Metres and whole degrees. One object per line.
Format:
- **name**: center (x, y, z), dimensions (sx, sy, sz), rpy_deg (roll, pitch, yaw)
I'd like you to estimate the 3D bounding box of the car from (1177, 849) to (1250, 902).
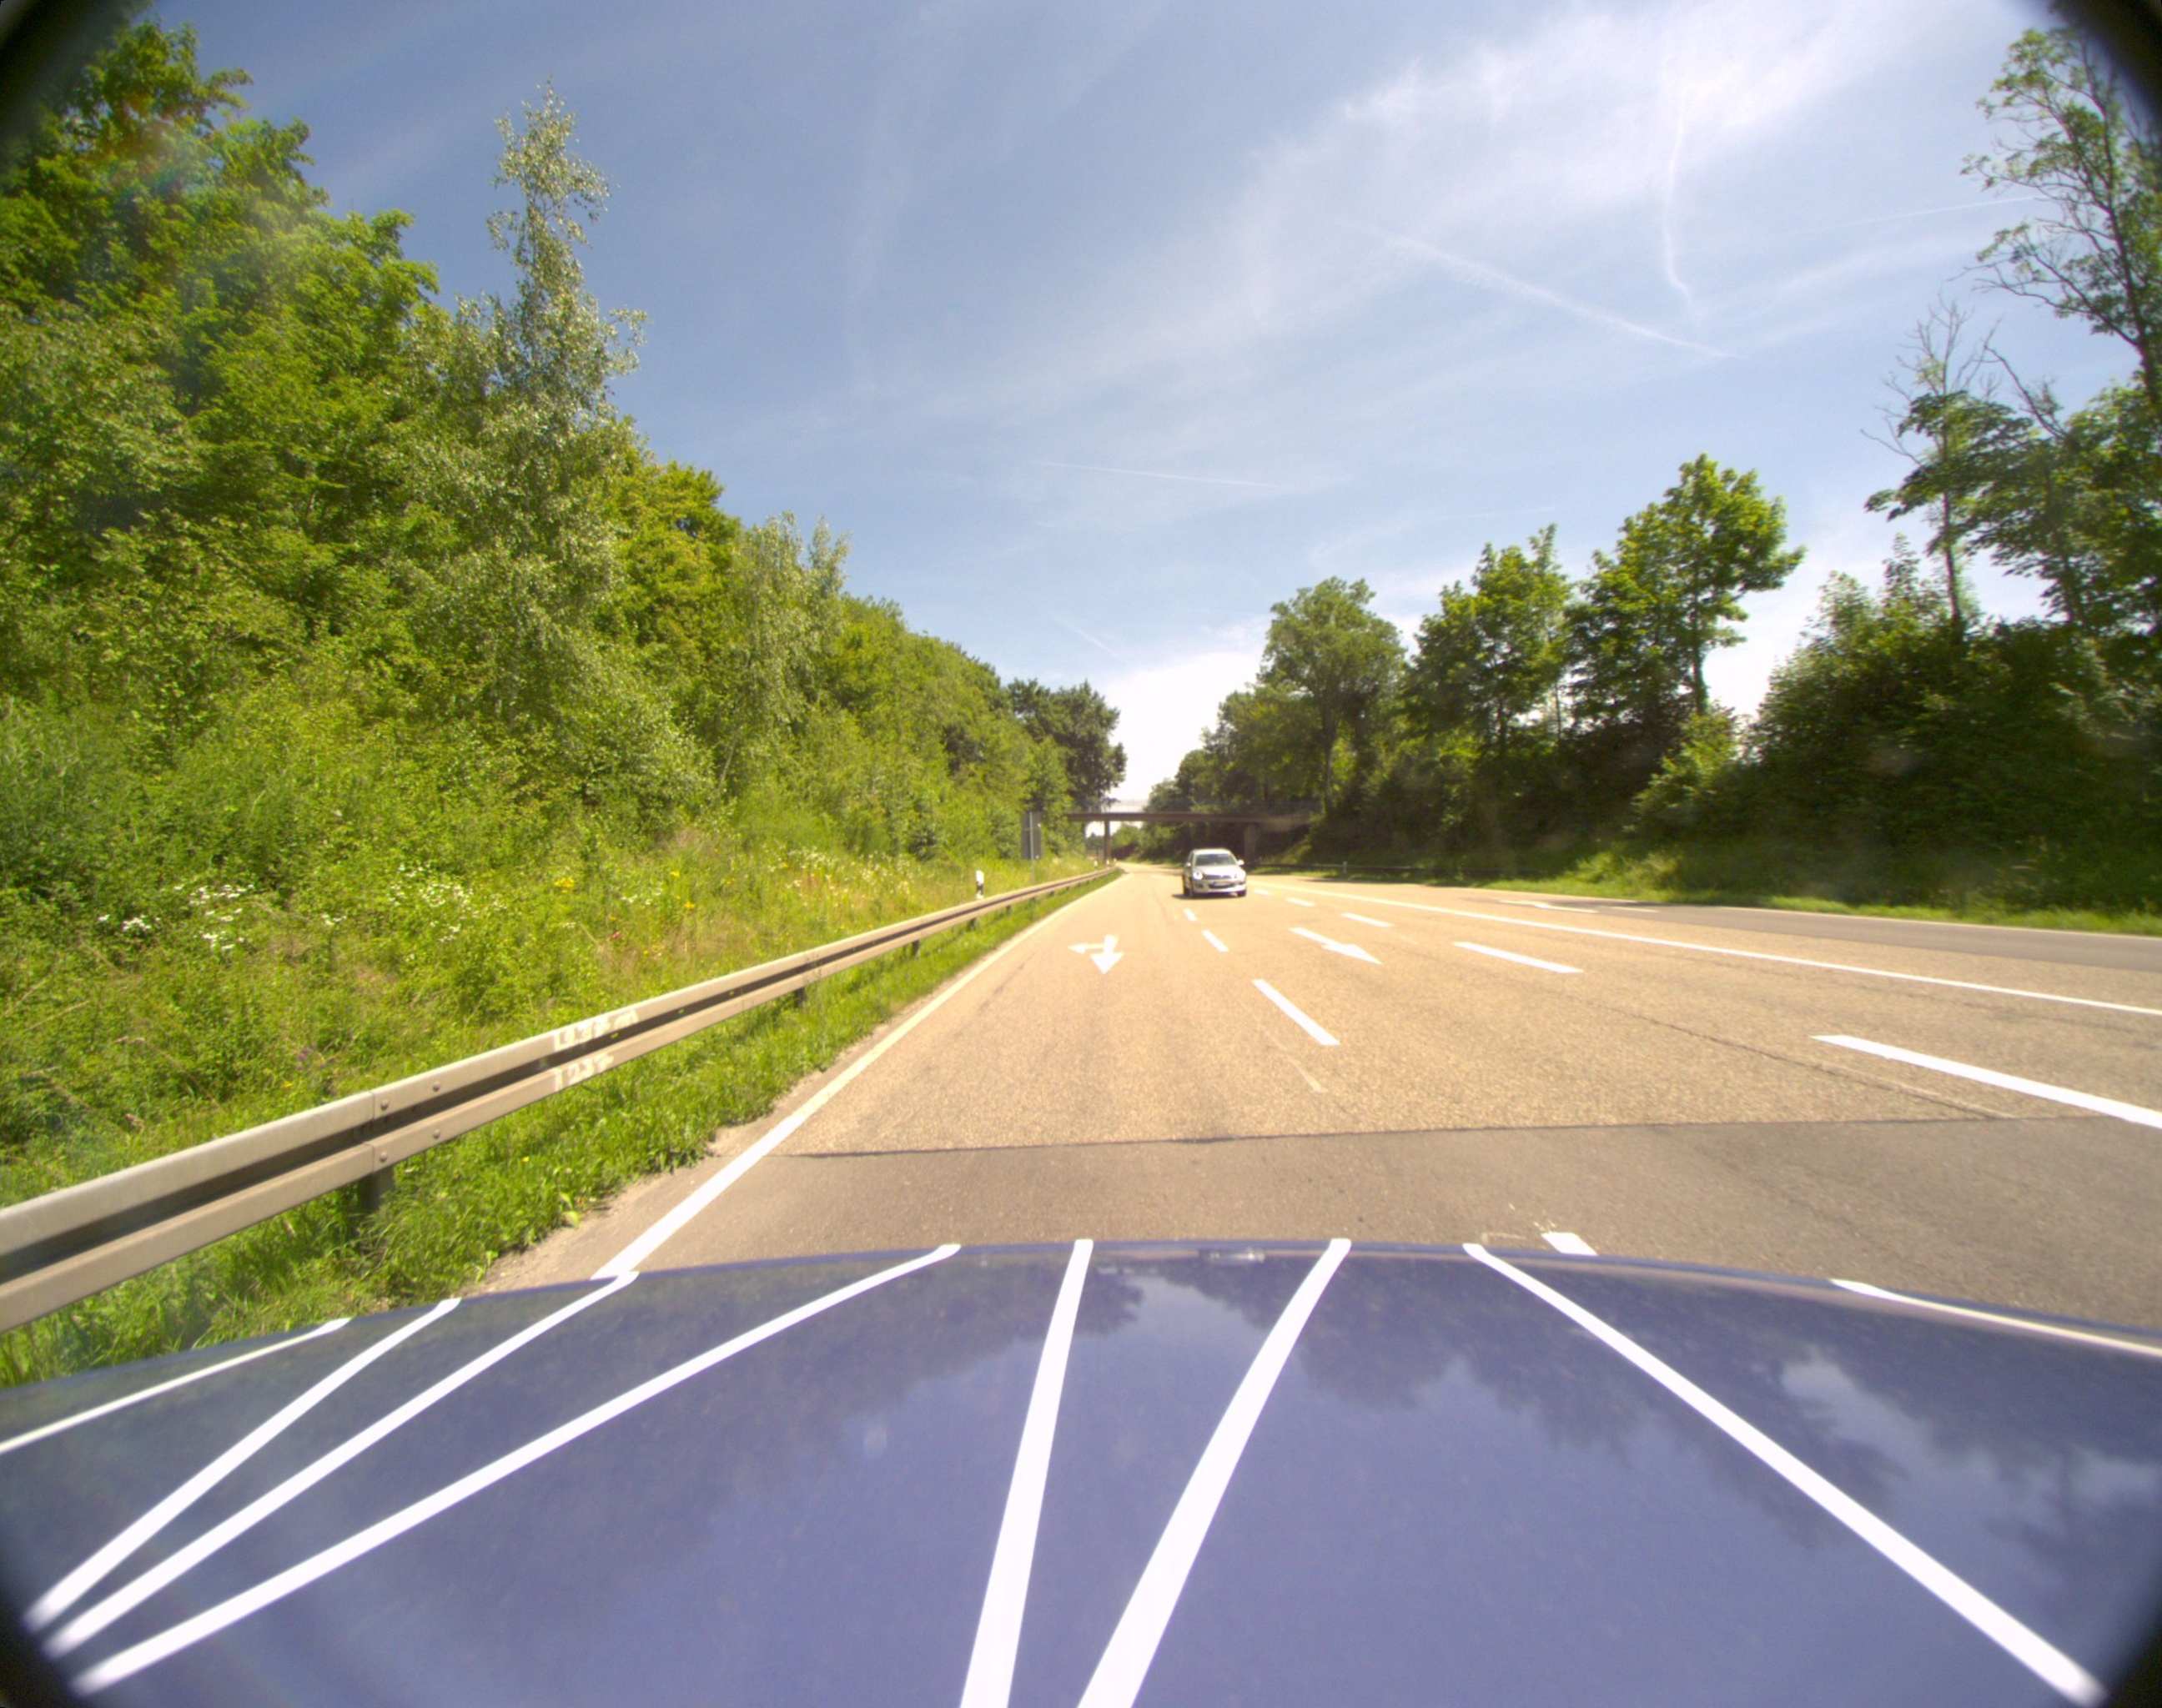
- **car**: center (4.605, 0.709, 26.952), dimensions (1.809, 1.660, 4.292), rpy_deg (-3, 0, 1)
